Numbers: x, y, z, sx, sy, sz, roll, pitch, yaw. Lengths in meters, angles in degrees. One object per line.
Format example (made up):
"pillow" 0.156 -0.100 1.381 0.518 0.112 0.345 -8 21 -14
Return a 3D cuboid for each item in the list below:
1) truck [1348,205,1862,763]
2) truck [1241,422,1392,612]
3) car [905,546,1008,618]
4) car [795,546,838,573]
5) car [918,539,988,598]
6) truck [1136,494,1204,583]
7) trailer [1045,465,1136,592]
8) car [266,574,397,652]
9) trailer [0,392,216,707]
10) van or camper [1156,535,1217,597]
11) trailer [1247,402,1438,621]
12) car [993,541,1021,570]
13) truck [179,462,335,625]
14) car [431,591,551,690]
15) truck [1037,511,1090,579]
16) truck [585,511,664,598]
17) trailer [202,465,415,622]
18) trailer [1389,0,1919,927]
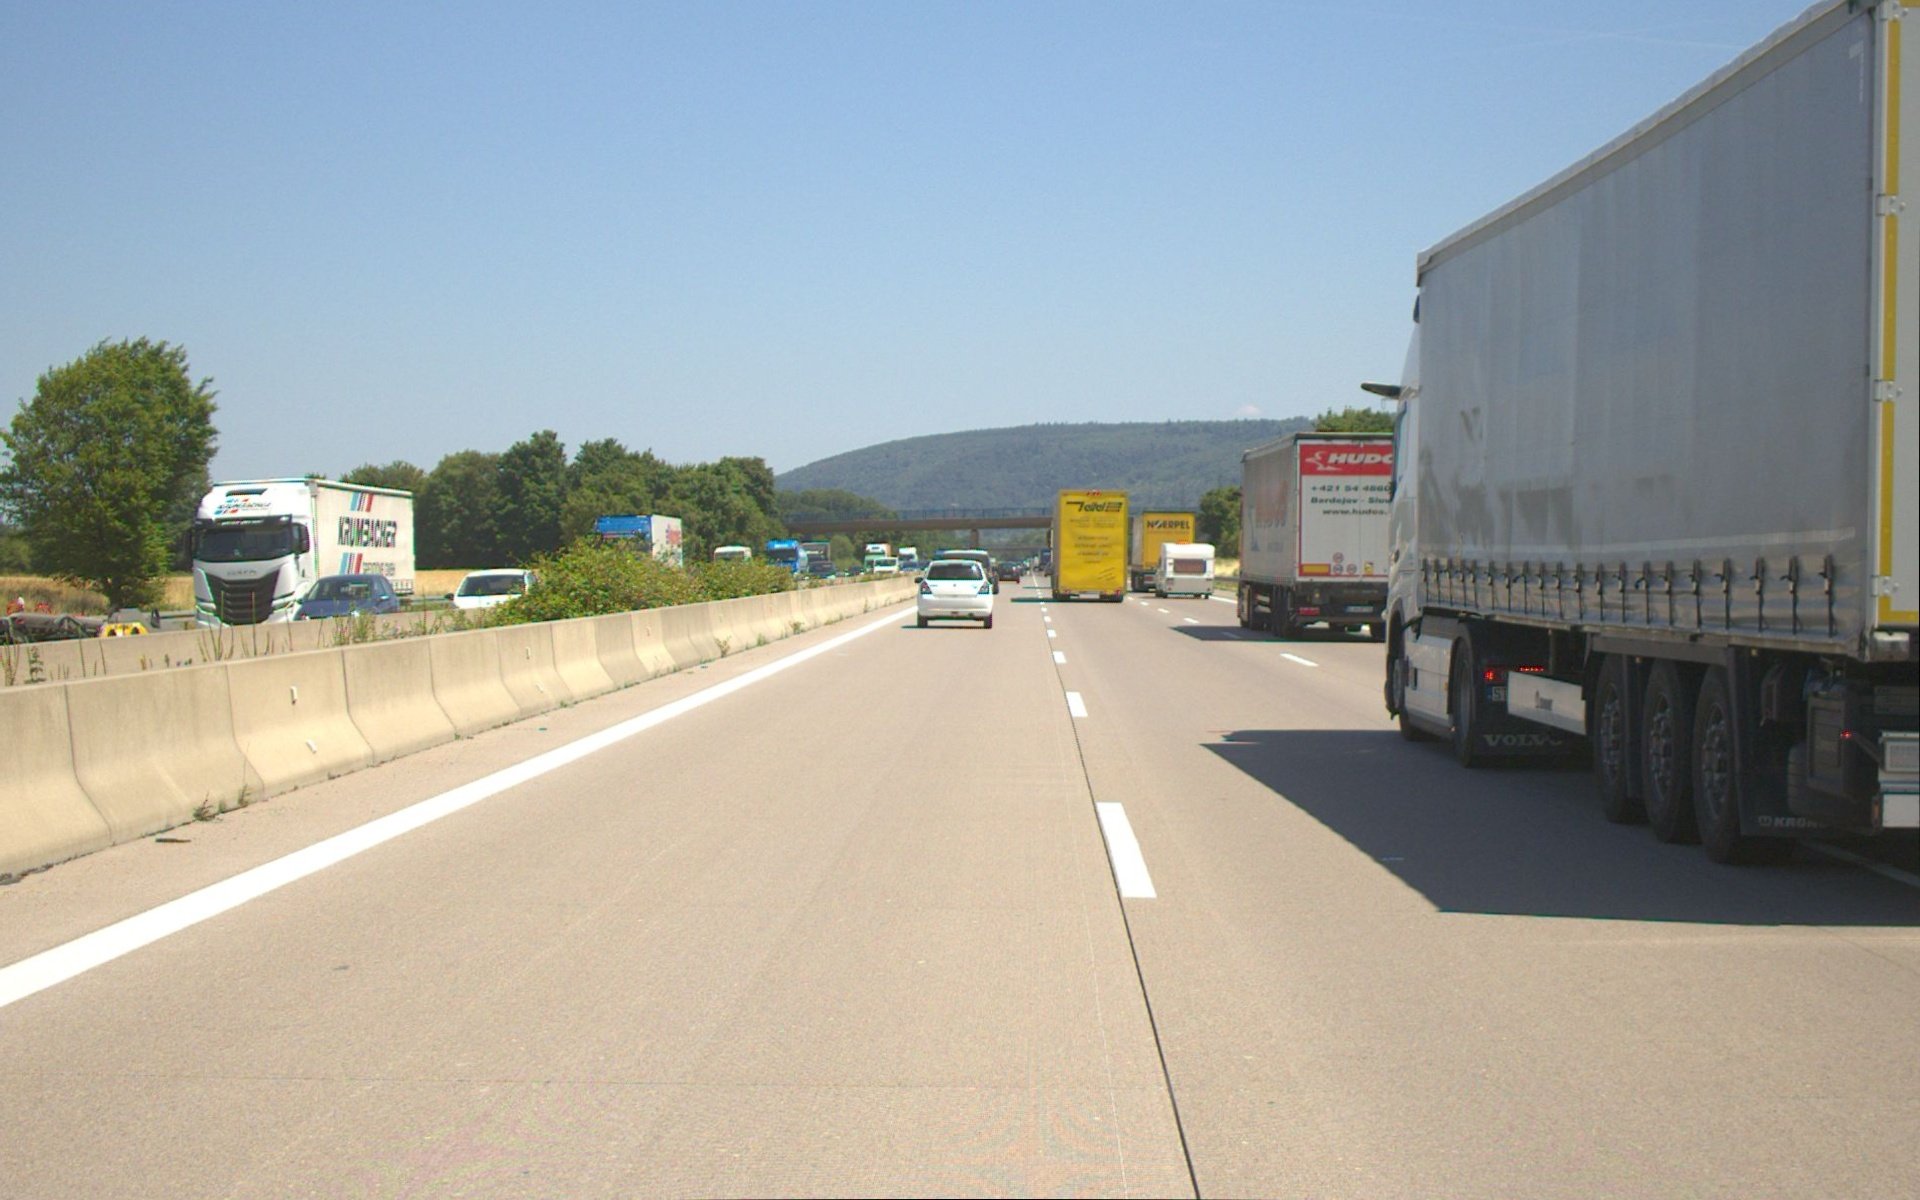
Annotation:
"truck" 5.059 -0.894 28.070 2.984 4.048 5.478 1 1 -1
"truck" 8.067 -1.865 78.405 2.906 4.086 6.271 1 1 2
"car" -0.049 -0.427 77.375 2.107 1.530 4.122 1 1 3
"car" -7.374 -2.090 176.859 1.898 1.321 5.069 1 1 1
"car" -0.221 -1.127 121.688 2.255 2.007 4.297 1 1 2
"truck" 10.567 -3.088 173.779 2.999 4.299 9.684 1 1 1
"trailer" 4.941 -2.715 132.609 3.216 4.548 13.456 1 1 1
"car" -13.553 0.253 74.358 1.993 1.578 4.370 -1 1 0
"trailer" -13.545 -0.730 47.743 2.776 4.025 14.612 1 1 2
"van or camper" 9.514 -1.449 144.843 2.224 2.522 5.431 1 1 1
"trailer" 7.818 -1.772 71.947 2.874 4.086 13.512 1 1 2
"car" 3.239 -3.056 235.941 1.784 1.875 4.000 1 1 1
"truck" -17.168 -1.387 84.211 2.770 3.826 4.451 1 1 1
"car" -9.224 0.767 67.894 1.705 1.797 4.714 -1 1 0
"truck" 5.811 -3.101 194.290 2.820 3.748 6.284 1 1 1
"truck" -15.203 -2.073 156.262 2.897 3.850 5.685 1 1 1
"trailer" -17.078 -1.483 91.235 2.770 3.789 13.829 1 1 1
"trailer" 5.120 -0.781 21.000 3.018 4.047 14.208 1 1 0
